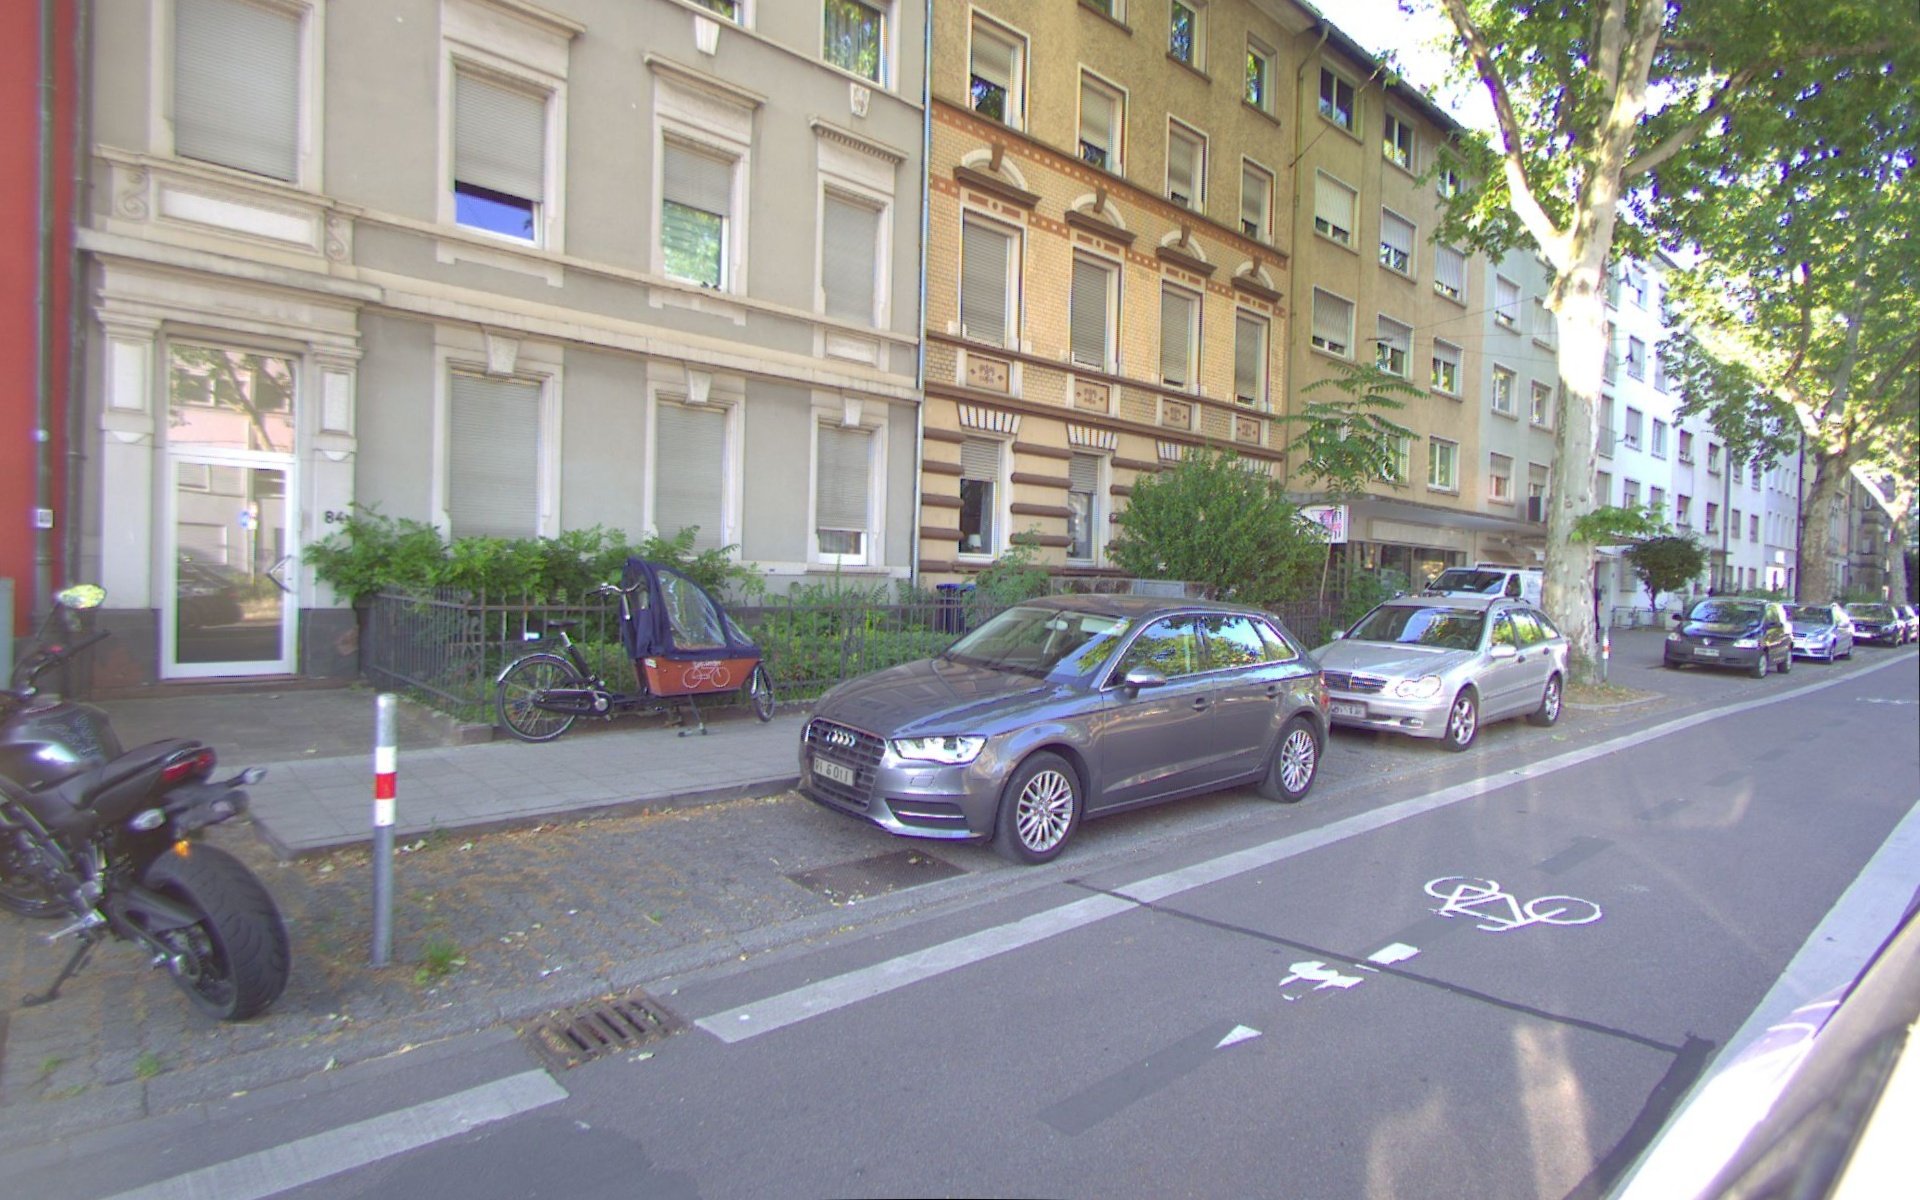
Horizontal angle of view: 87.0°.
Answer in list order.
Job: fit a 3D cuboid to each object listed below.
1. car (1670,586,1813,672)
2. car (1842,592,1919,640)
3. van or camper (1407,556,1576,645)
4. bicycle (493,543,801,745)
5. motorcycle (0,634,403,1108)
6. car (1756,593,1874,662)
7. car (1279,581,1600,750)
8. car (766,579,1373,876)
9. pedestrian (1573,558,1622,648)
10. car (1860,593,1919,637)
[{"bbox_3d":[16.242,0.531,20.968,3.932,1.564,1.656,0,2,-42],"label":"car"},{"bbox_3d":[31.664,0.513,34.613,4.289,1.432,1.712,0,4,-42],"label":"car"},{"bbox_3d":[13.176,-0.017,24.921,5.299,1.946,1.945,0,2,-42],"label":"van or camper"},{"bbox_3d":[-2.464,0.303,8.238,2.354,1.445,0.608,0,0,-41],"label":"bicycle"},{"bbox_3d":[-3.026,0.763,3.578,2.193,1.076,0.760,4,2,28],"label":"motorcycle"},{"bbox_3d":[21.996,0.633,25.962,4.695,1.561,1.697,0,2,-42],"label":"car"},{"bbox_3d":[5.459,0.569,11.212,4.494,1.469,1.676,0,2,-43],"label":"car"},{"bbox_3d":[0.971,0.611,6.985,4.245,1.414,1.714,0,2,-41],"label":"car"},{"bbox_3d":[14.730,0.059,23.390,0.995,2.038,0.683,0,1,-43],"label":"pedestrian"},{"bbox_3d":[35.191,0.525,37.883,4.289,1.432,1.712,0,4,-42],"label":"car"}]
